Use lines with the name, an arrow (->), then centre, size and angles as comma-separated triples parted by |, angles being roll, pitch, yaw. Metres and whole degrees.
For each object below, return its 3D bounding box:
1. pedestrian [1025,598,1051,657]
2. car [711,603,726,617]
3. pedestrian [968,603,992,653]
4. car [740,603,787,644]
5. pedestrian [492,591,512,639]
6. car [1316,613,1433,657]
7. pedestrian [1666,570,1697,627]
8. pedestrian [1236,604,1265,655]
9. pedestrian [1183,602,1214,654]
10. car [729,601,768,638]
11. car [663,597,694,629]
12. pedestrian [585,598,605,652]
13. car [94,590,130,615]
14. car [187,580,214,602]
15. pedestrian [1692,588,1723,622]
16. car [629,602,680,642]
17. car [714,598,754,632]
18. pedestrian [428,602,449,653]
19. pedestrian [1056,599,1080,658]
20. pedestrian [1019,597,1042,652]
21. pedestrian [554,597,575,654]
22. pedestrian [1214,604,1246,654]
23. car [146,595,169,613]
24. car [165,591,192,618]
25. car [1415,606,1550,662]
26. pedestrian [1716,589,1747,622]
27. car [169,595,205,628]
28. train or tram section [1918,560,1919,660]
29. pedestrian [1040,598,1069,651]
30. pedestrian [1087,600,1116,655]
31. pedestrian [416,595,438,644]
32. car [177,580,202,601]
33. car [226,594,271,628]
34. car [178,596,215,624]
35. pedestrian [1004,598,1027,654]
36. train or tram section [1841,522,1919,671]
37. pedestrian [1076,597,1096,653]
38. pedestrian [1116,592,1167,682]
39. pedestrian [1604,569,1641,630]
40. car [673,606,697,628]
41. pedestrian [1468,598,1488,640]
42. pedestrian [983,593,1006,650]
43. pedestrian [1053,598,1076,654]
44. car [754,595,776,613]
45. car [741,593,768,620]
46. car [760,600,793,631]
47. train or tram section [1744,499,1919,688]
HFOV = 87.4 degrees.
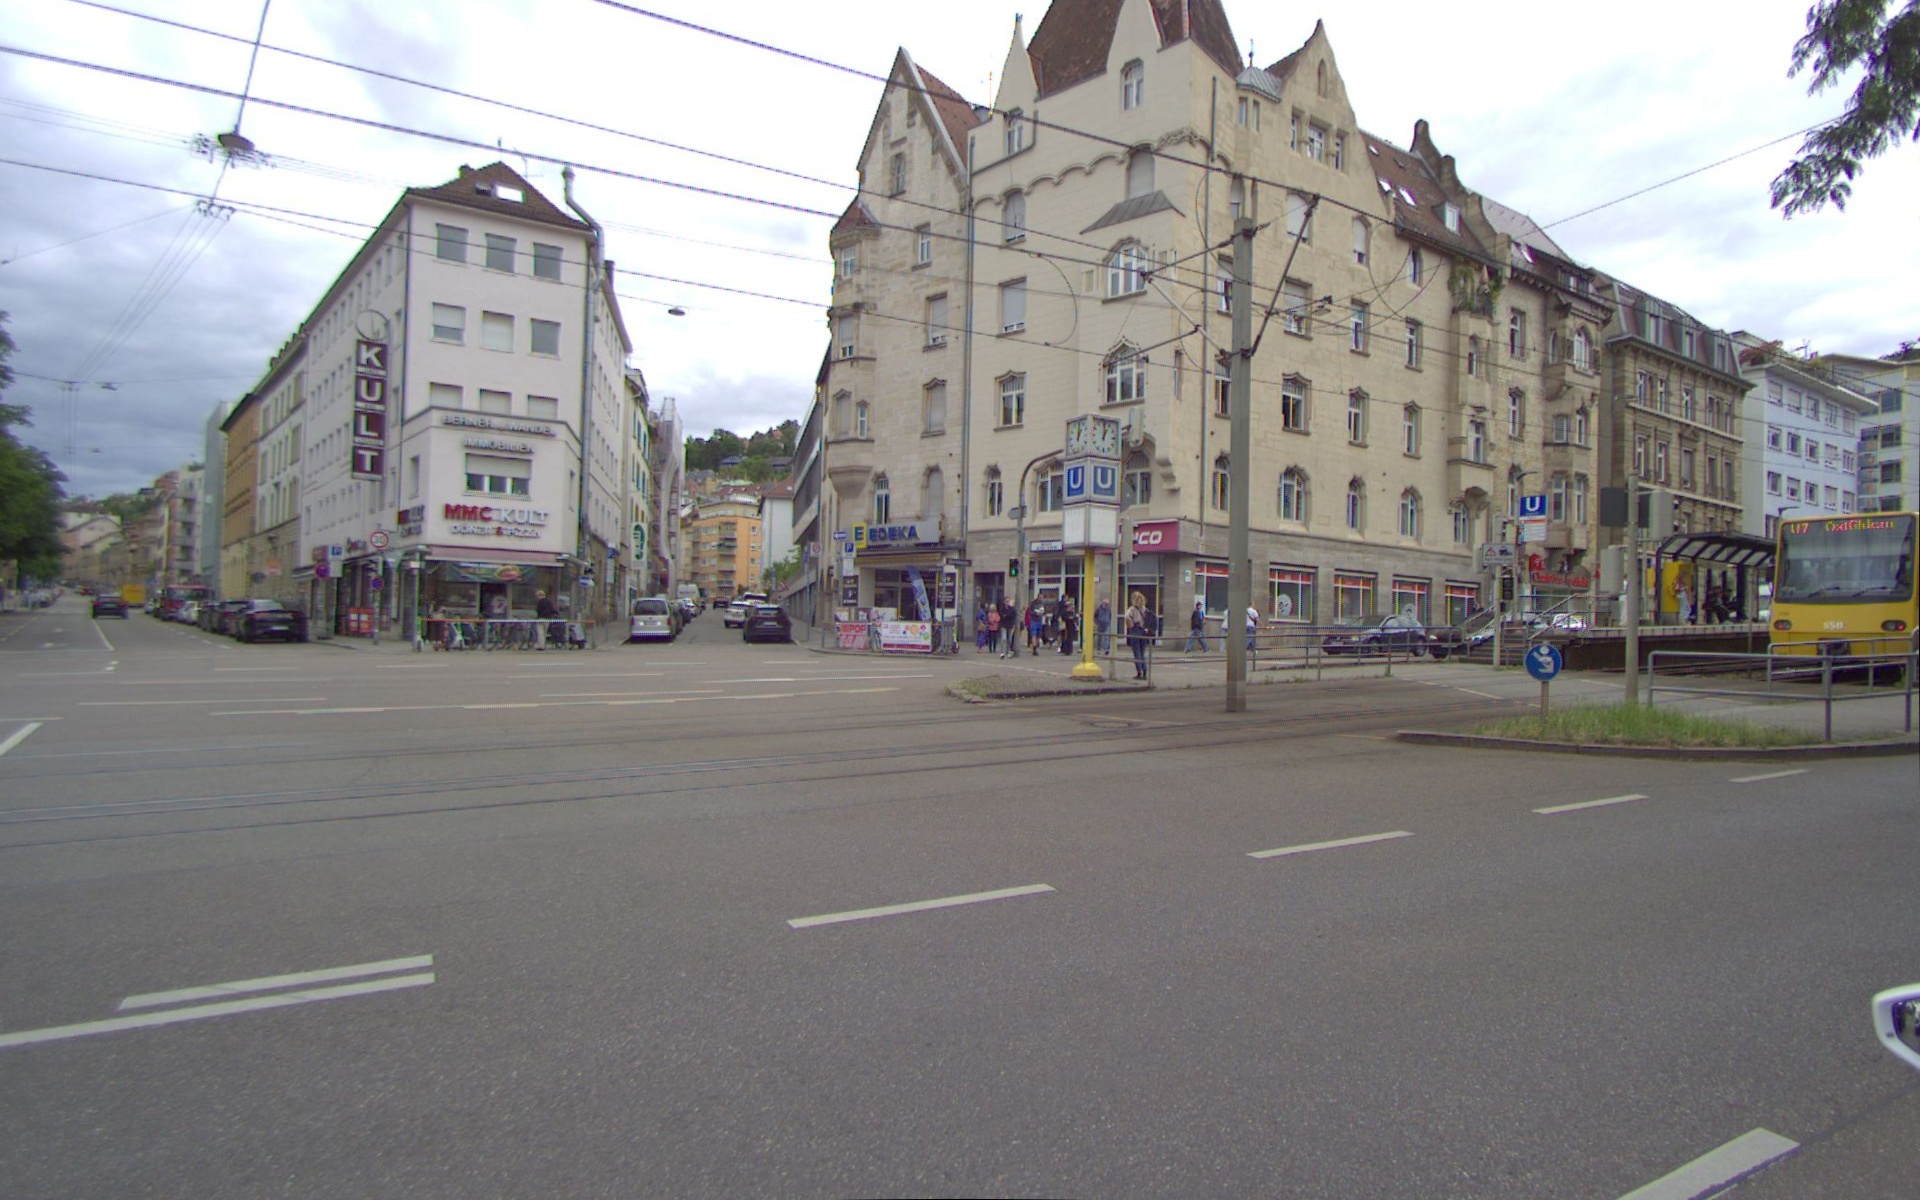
pedestrian -> 2.407, 0.835, 30.954 | 0.586, 1.803, 0.709 | 1, 0, -16
car -> -27.878, 1.165, 116.137 | 1.608, 1.599, 3.774 | 0, -1, -12
pedestrian -> 0.637, 0.889, 32.021 | 0.505, 1.603, 0.572 | 1, 0, -29
car -> -8.511, 1.040, 43.334 | 1.611, 1.706, 3.770 | 0, -2, -17
pedestrian -> -17.192, 0.569, 37.707 | 0.589, 1.803, 0.509 | 1, 0, -20
car -> 13.923, 1.167, 33.696 | 3.736, 1.393, 1.625 | 1, 0, -28
pedestrian -> 22.401, -0.045, 31.179 | 0.684, 1.734, 0.630 | 0, 0, -41
pedestrian -> 9.893, 0.996, 34.200 | 0.701, 1.728, 0.601 | 1, 0, -26
pedestrian -> 8.048, 0.947, 33.928 | 0.645, 1.728, 0.779 | 1, 0, -26
car -> -10.598, 1.007, 50.213 | 1.611, 1.768, 3.770 | 0, -2, -17
car -> -16.112, 0.723, 57.431 | 1.611, 1.769, 3.769 | 0, 0, -17
pedestrian -> -12.436, 0.854, 34.230 | 0.502, 1.803, 0.576 | 1, 0, -6
car -> -62.452, 0.192, 73.941 | 1.911, 1.734, 4.438 | 1, -1, -42
car -> -59.981, -0.688, 79.318 | 1.635, 1.734, 3.611 | 1, -1, -37
pedestrian -> 24.785, 0.164, 33.293 | 0.682, 1.122, 0.632 | 0, 0, -32
car -> -12.939, 0.972, 42.723 | 1.724, 1.581, 4.504 | 1, -2, -13
car -> -12.705, 0.871, 56.350 | 2.021, 1.768, 4.655 | 0, -2, -15
pedestrian -> -18.458, 0.977, 35.543 | 0.568, 1.803, 0.509 | 1, 0, -20
pedestrian -> 3.330, 0.886, 30.956 | 0.568, 1.803, 0.509 | 1, 0, -18
pedestrian -> 2.310, 0.795, 32.887 | 0.570, 1.803, 0.507 | 1, 0, -30
pedestrian -> -12.702, 0.818, 32.273 | 0.568, 1.803, 0.509 | 1, 0, -20
pedestrian -> 9.409, 1.003, 35.017 | 0.714, 1.728, 0.779 | 1, 0, -26
car -> -77.713, 0.418, 97.316 | 1.635, 1.734, 3.611 | 1, -1, -37
car -> -53.252, 0.295, 68.504 | 1.377, 1.763, 3.611 | 1, -1, -37
car -> 16.179, 1.043, 31.091 | 3.954, 1.595, 1.898 | 2, 0, -31
pedestrian -> 26.145, 0.180, 34.039 | 0.682, 1.122, 0.632 | 0, 0, -32
car -> -46.819, 0.730, 60.878 | 1.635, 1.733, 3.613 | 2, -5, -37
train or tram section -> 30.182, -0.061, 28.631 | 5.687, 3.568, 2.820 | 0, 1, -32
pedestrian -> 3.227, 0.844, 34.384 | 0.808, 1.803, 0.574 | 1, 0, -22
pedestrian -> 4.441, 0.855, 31.601 | 0.679, 1.699, 0.673 | 1, 0, -14
pedestrian -> -18.983, 0.701, 35.787 | 0.645, 1.728, 0.779 | 1, 0, -26
car -> -66.324, -0.760, 86.498 | 1.635, 1.734, 3.611 | 1, -1, -37
car -> -34.146, 0.518, 48.191 | 1.635, 1.553, 3.611 | 1, -1, -37
car -> -49.237, 0.654, 64.752 | 1.638, 1.734, 3.605 | 1, -1, -42
pedestrian -> 1.796, 0.835, 32.572 | 0.569, 1.803, 0.508 | 1, 0, -25
train or tram section -> 25.364, -0.064, 25.602 | 5.687, 3.568, 2.820 | 0, 1, -32
pedestrian -> 4.084, 0.815, 32.611 | 0.565, 1.803, 0.511 | 1, 0, -1
pedestrian -> 3.562, 0.716, 19.745 | 0.796, 1.728, 0.877 | 1, 0, -3
pedestrian -> 19.152, -0.024, 29.045 | 0.655, 1.734, 0.684 | 0, 0, -33
car -> -20.593, 1.274, 75.106 | 1.611, 1.599, 3.769 | 0, -1, -17
pedestrian -> 22.462, 0.825, 43.587 | 0.616, 1.786, 0.847 | 0, 0, 16
pedestrian -> 1.101, 0.701, 32.276 | 0.505, 1.803, 0.573 | 1, 0, -27
pedestrian -> 3.404, 0.836, 32.761 | 0.654, 1.803, 0.790 | 1, 0, -1
car -> -17.922, 0.405, 92.278 | 1.611, 1.599, 3.769 | 0, -1, -17
car -> -14.654, 0.501, 71.465 | 1.610, 1.768, 3.771 | 0, -2, -16
car -> -11.269, 0.963, 61.567 | 1.611, 1.768, 3.770 | 0, -2, -17
train or tram section -> 20.539, -0.122, 22.562 | 5.687, 3.728, 2.820 | 0, 1, -32
